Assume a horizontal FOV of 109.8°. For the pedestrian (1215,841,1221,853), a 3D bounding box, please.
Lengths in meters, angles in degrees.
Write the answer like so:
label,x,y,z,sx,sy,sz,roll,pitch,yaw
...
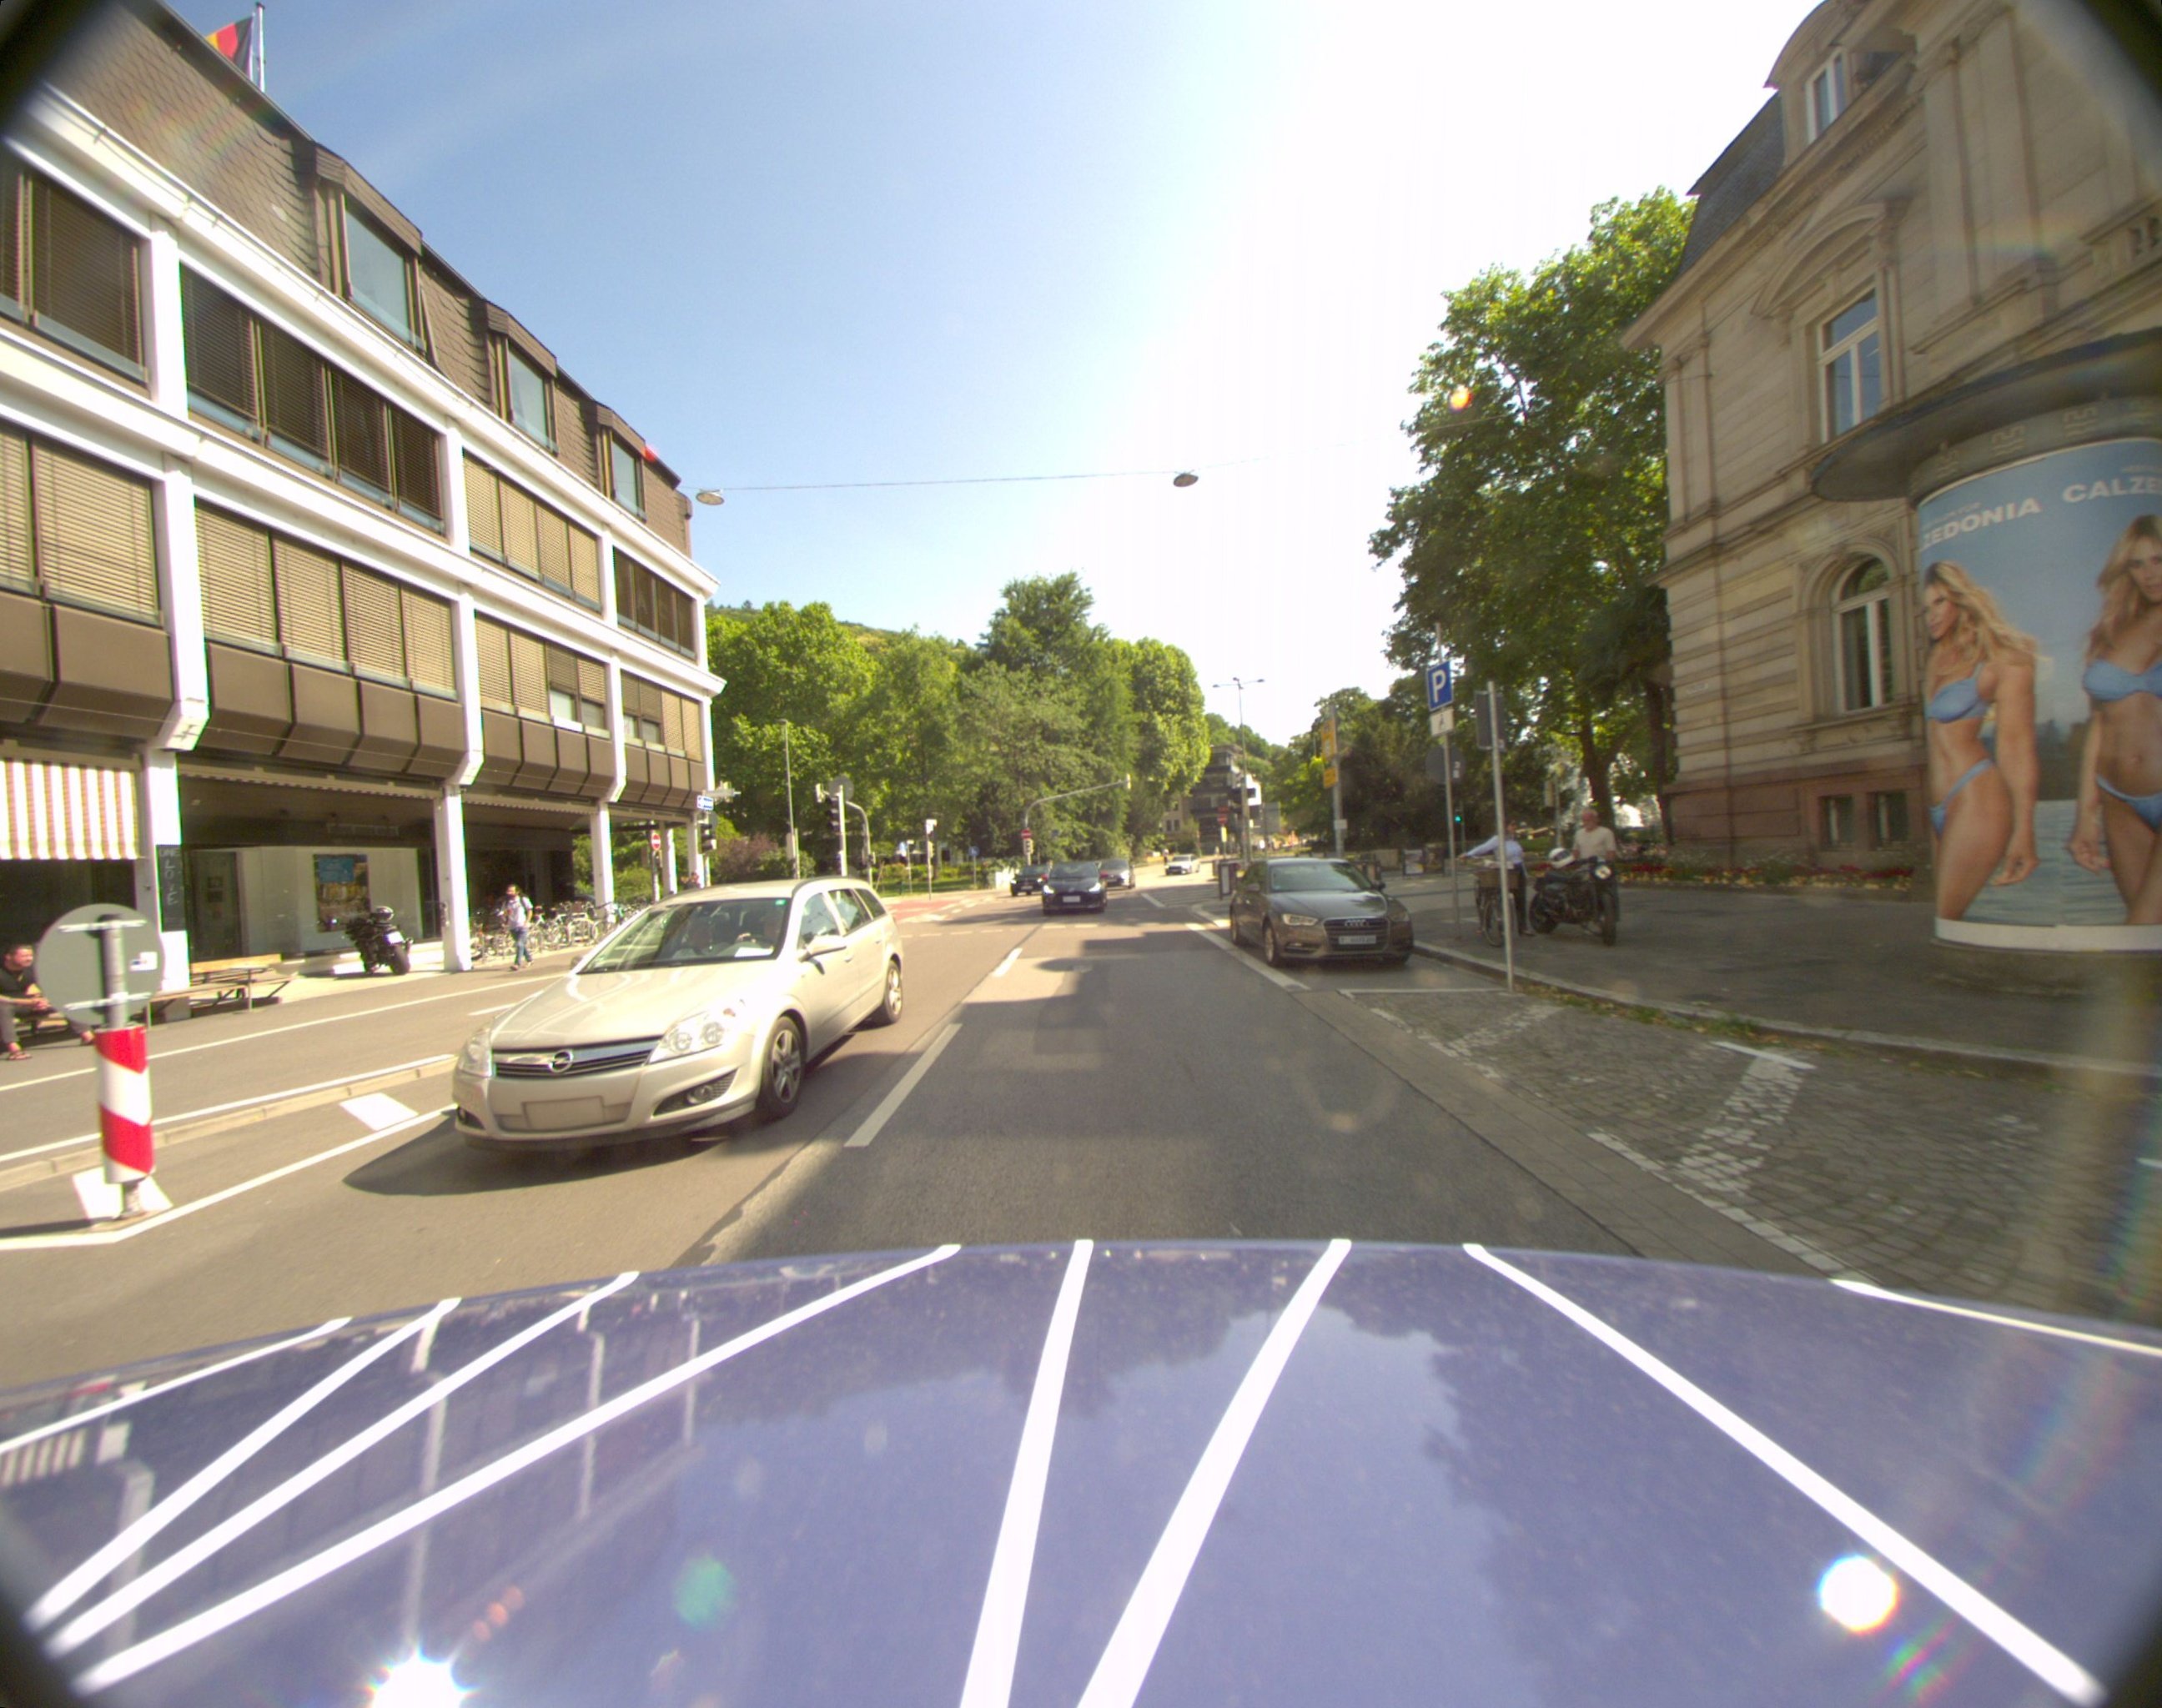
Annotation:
label,x,y,z,sx,sy,sz,roll,pitch,yaw
pedestrian,19.073,-0.961,105.550,0.710,1.663,0.535,-3,1,19

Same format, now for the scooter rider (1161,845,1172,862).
label,x,y,z,sx,sy,sz,roll,pitch,yaw
scooter rider,8.754,-0.016,77.745,0.822,1.662,0.710,-2,2,24

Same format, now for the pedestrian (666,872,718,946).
label,x,y,z,sx,sy,sz,roll,pitch,yaw
pedestrian,-9.992,1.410,19.554,0.834,1.825,0.697,-3,2,10

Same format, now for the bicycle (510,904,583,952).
label,x,y,z,sx,sy,sz,roll,pitch,yaw
bicycle,-13.146,1.824,18.687,1.720,1.114,0.278,-2,0,8

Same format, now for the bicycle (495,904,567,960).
label,x,y,z,sx,sy,sz,roll,pitch,yaw
bicycle,-12.864,1.824,17.782,1.548,1.199,0.278,-3,0,8

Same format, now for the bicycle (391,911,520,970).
label,x,y,z,sx,sy,sz,roll,pitch,yaw
bicycle,-13.567,1.867,16.517,2.243,1.090,0.277,-3,0,-12

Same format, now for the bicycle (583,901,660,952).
label,x,y,z,sx,sy,sz,roll,pitch,yaw
bicycle,-11.940,1.867,19.818,0.277,1.114,2.245,-3,0,9

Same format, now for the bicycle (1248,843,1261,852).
label,x,y,z,sx,sy,sz,roll,pitch,yaw
bicycle,23.095,-0.877,101.066,0.709,1.048,2.211,-4,0,39

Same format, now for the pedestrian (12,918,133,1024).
label,x,y,z,sx,sy,sz,roll,pitch,yaw
pedestrian,-14.647,1.676,11.053,0.713,1.388,0.696,-3,2,1

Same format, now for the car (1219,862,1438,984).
label,x,y,z,sx,sy,sz,roll,pitch,yaw
car,3.289,0.842,11.054,1.941,1.346,4.251,-3,-1,3

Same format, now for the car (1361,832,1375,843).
label,x,y,z,sx,sy,sz,roll,pitch,yaw
car,45.793,-2.685,121.340,1.848,1.652,4.005,-3,0,19

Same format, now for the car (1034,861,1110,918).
label,x,y,z,sx,sy,sz,roll,pitch,yaw
car,-0.170,0.982,22.564,1.810,1.443,3.956,-3,-1,5

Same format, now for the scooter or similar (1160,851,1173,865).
label,x,y,z,sx,sy,sz,roll,pitch,yaw
scooter or similar,8.727,0.386,77.608,0.819,1.291,1.698,-2,1,23

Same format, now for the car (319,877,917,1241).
label,x,y,z,sx,sy,sz,roll,pitch,yaw
car,-2.669,1.041,5.795,1.711,1.513,4.407,-4,0,1

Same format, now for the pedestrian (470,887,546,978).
label,x,y,z,sx,sy,sz,roll,pitch,yaw
pedestrian,-11.134,1.512,14.788,0.834,1.654,0.697,-3,2,10

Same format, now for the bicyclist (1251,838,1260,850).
label,x,y,z,sx,sy,sz,roll,pitch,yaw
bicyclist,23.193,-1.356,101.041,0.709,1.603,0.733,-4,0,39

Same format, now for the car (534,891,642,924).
label,x,y,z,sx,sy,sz,roll,pitch,yaw
car,-24.125,2.605,37.272,4.093,1.355,1.860,-3,-1,2

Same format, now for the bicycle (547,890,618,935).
label,x,y,z,sx,sy,sz,roll,pitch,yaw
bicycle,-17.117,1.992,26.094,1.970,1.414,0.530,-2,-1,-37

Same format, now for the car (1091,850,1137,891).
label,x,y,z,sx,sy,sz,roll,pitch,yaw
car,1.491,0.770,35.016,1.889,1.673,4.143,-3,-1,2

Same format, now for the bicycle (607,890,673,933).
label,x,y,z,sx,sy,sz,roll,pitch,yaw
bicycle,-14.987,1.928,25.830,1.862,1.309,0.530,-2,-1,-37

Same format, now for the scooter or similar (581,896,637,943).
label,x,y,z,sx,sy,sz,roll,pitch,yaw
scooter or similar,-13.180,1.825,21.216,1.248,1.225,0.480,-3,0,8

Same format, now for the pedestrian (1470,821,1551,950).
label,x,y,z,sx,sy,sz,roll,pitch,yaw
pedestrian,5.867,0.411,10.411,0.696,1.685,0.691,-3,2,4

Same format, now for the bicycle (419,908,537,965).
label,x,y,z,sx,sy,sz,roll,pitch,yaw
bicycle,-13.586,1.848,17.136,2.242,1.114,0.277,-3,0,-6

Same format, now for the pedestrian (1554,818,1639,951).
label,x,y,z,sx,sy,sz,roll,pitch,yaw
pedestrian,6.783,0.376,10.033,0.550,1.655,0.937,-3,2,10

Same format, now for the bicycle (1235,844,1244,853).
label,x,y,z,sx,sy,sz,roll,pitch,yaw
bicycle,20.682,-0.696,99.004,0.758,1.114,2.004,-2,2,22

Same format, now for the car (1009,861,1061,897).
label,x,y,z,sx,sy,sz,roll,pitch,yaw
car,-2.110,1.146,35.869,1.848,1.421,4.213,-3,0,4

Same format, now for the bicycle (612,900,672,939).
label,x,y,z,sx,sy,sz,roll,pitch,yaw
bicycle,-12.841,1.894,22.267,1.474,1.059,0.376,1,-2,-42

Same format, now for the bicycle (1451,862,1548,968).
label,x,y,z,sx,sy,sz,roll,pitch,yaw
bicycle,5.414,0.726,9.964,0.430,1.114,2.244,-5,1,13

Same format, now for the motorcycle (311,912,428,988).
label,x,y,z,sx,sy,sz,roll,pitch,yaw
motorcycle,-13.700,1.803,14.624,2.237,1.283,0.950,-2,2,30

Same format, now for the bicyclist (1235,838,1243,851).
label,x,y,z,sx,sy,sz,roll,pitch,yaw
bicyclist,20.502,-1.193,98.679,0.765,1.627,0.944,-3,2,20

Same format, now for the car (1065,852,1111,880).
label,x,y,z,sx,sy,sz,roll,pitch,yaw
car,0.509,0.750,49.226,1.887,1.674,4.147,-2,-1,16

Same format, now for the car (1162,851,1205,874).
label,x,y,z,sx,sy,sz,roll,pitch,yaw
car,7.630,0.599,56.254,1.938,1.421,4.556,-3,0,23

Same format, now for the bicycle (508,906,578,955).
label,x,y,z,sx,sy,sz,roll,pitch,yaw
bicycle,-12.848,1.821,18.151,1.573,1.114,0.278,-2,0,8

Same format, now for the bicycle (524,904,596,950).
label,x,y,z,sx,sy,sz,roll,pitch,yaw
bicycle,-13.092,1.836,19.081,1.720,1.114,0.278,-2,0,8

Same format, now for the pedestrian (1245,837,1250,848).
label,x,y,z,sx,sy,sz,roll,pitch,yaw
pedestrian,27.124,-1.813,123.535,0.601,1.695,0.605,-4,1,27

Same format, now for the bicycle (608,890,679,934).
label,x,y,z,sx,sy,sz,roll,pitch,yaw
bicycle,-14.623,1.918,25.447,1.970,1.309,0.530,-2,-1,-37

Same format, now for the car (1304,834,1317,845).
label,x,y,z,sx,sy,sz,roll,pitch,yaw
car,40.443,-2.576,133.945,1.848,1.777,4.006,-3,0,21

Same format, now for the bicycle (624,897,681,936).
label,x,y,z,sx,sy,sz,roll,pitch,yaw
bicycle,-12.966,1.884,23.016,0.308,1.059,1.474,-2,0,37

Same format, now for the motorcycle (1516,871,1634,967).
label,x,y,z,sx,sy,sz,roll,pitch,yaw
motorcycle,6.320,0.782,9.856,0.454,0.992,2.162,-5,0,11

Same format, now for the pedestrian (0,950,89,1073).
label,x,y,z,sx,sy,sz,roll,pitch,yaw
pedestrian,-11.780,1.723,8.384,0.712,1.210,0.697,-3,2,10

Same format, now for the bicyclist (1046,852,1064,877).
label,x,y,z,sx,sy,sz,roll,pitch,yaw
bicyclist,-1.731,0.695,51.062,0.866,1.566,0.944,-2,2,20

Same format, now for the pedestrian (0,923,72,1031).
label,x,y,z,sx,sy,sz,roll,pitch,yaw
pedestrian,-14.654,1.665,10.092,0.898,1.343,1.105,-3,1,1

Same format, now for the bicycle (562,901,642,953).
label,x,y,z,sx,sy,sz,roll,pitch,yaw
bicycle,-12.350,1.854,19.662,0.277,1.114,2.245,-3,0,9
